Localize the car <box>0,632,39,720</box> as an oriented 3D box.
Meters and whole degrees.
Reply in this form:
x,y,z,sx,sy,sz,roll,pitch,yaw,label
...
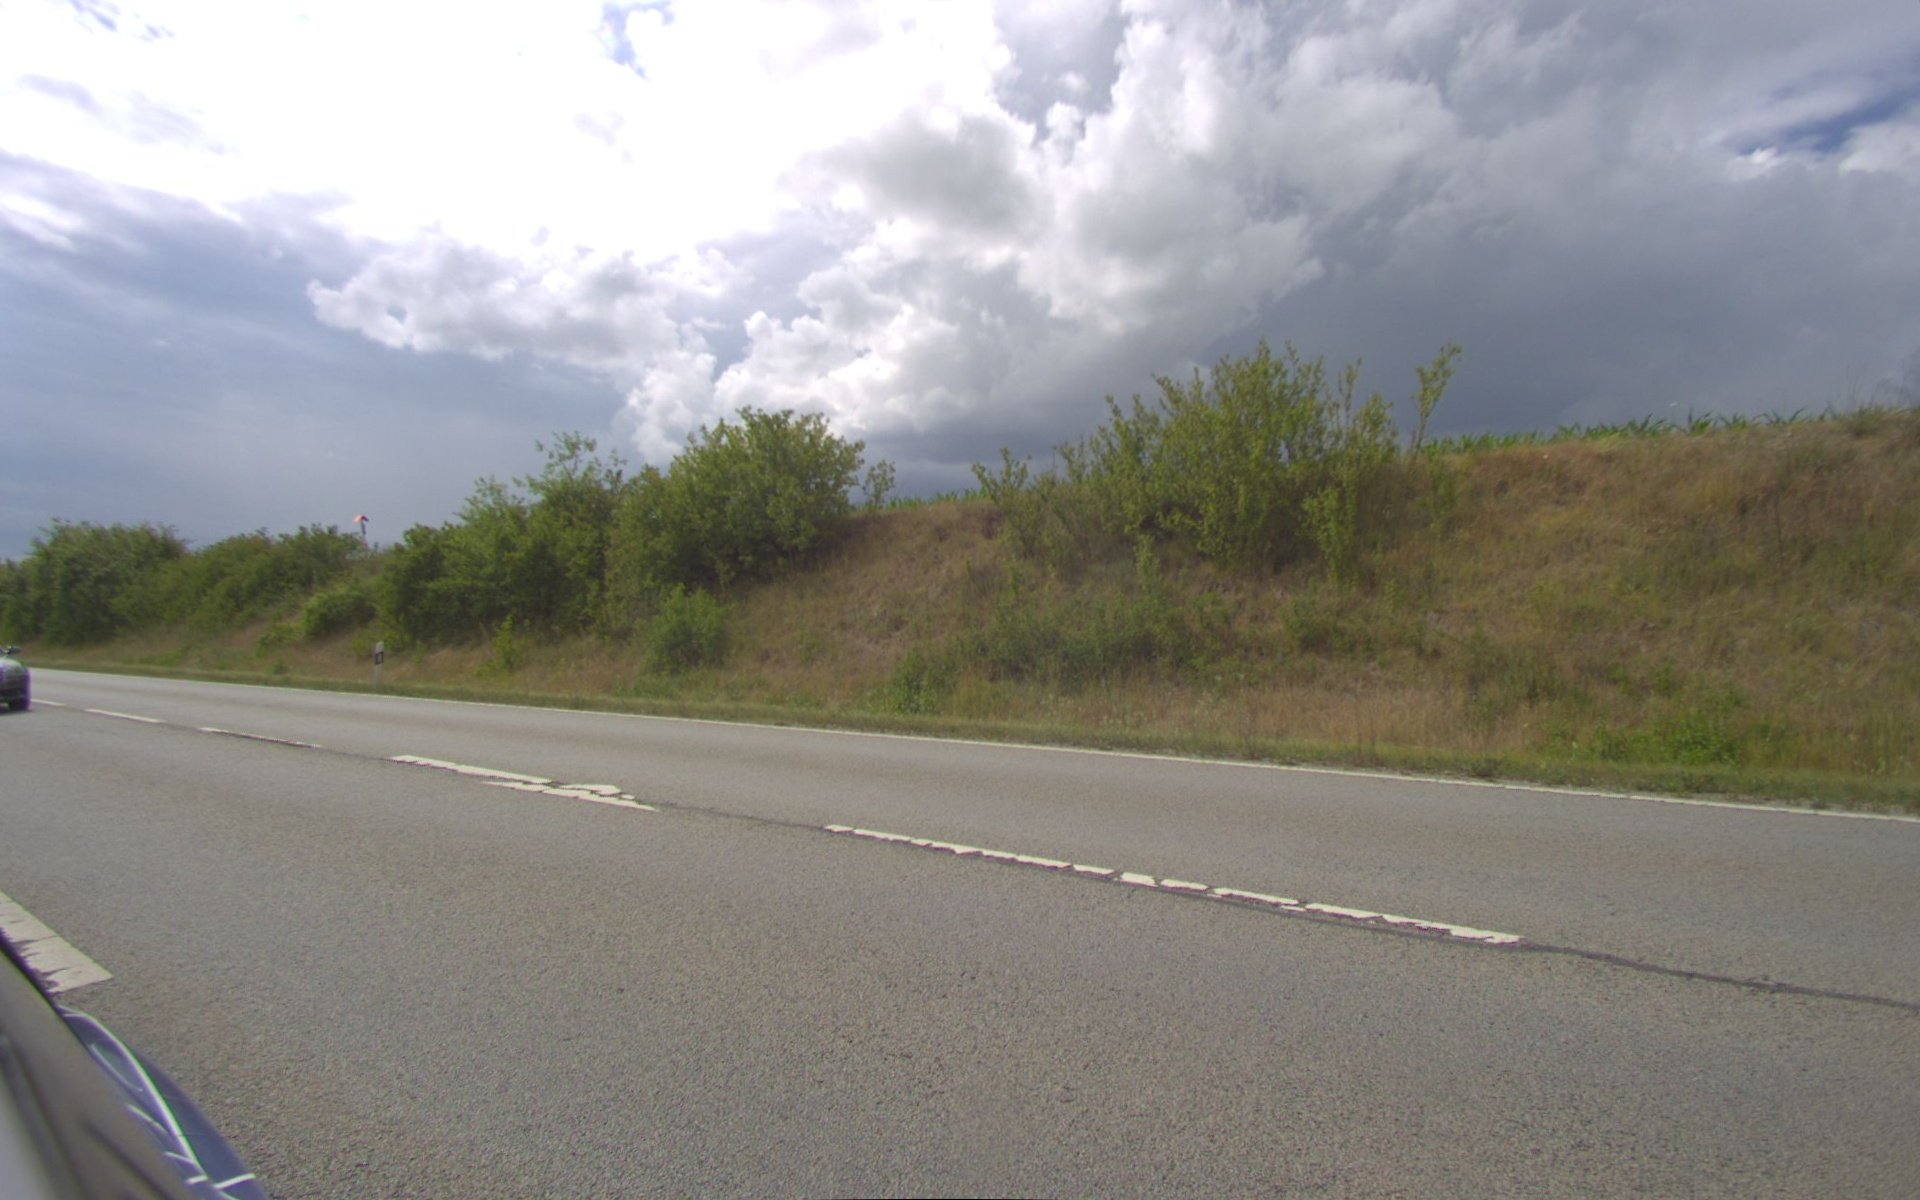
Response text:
x,y,z,sx,sy,sz,roll,pitch,yaw,label
-18.439,1.378,18.191,4.633,1.455,1.975,-2,0,37,car
